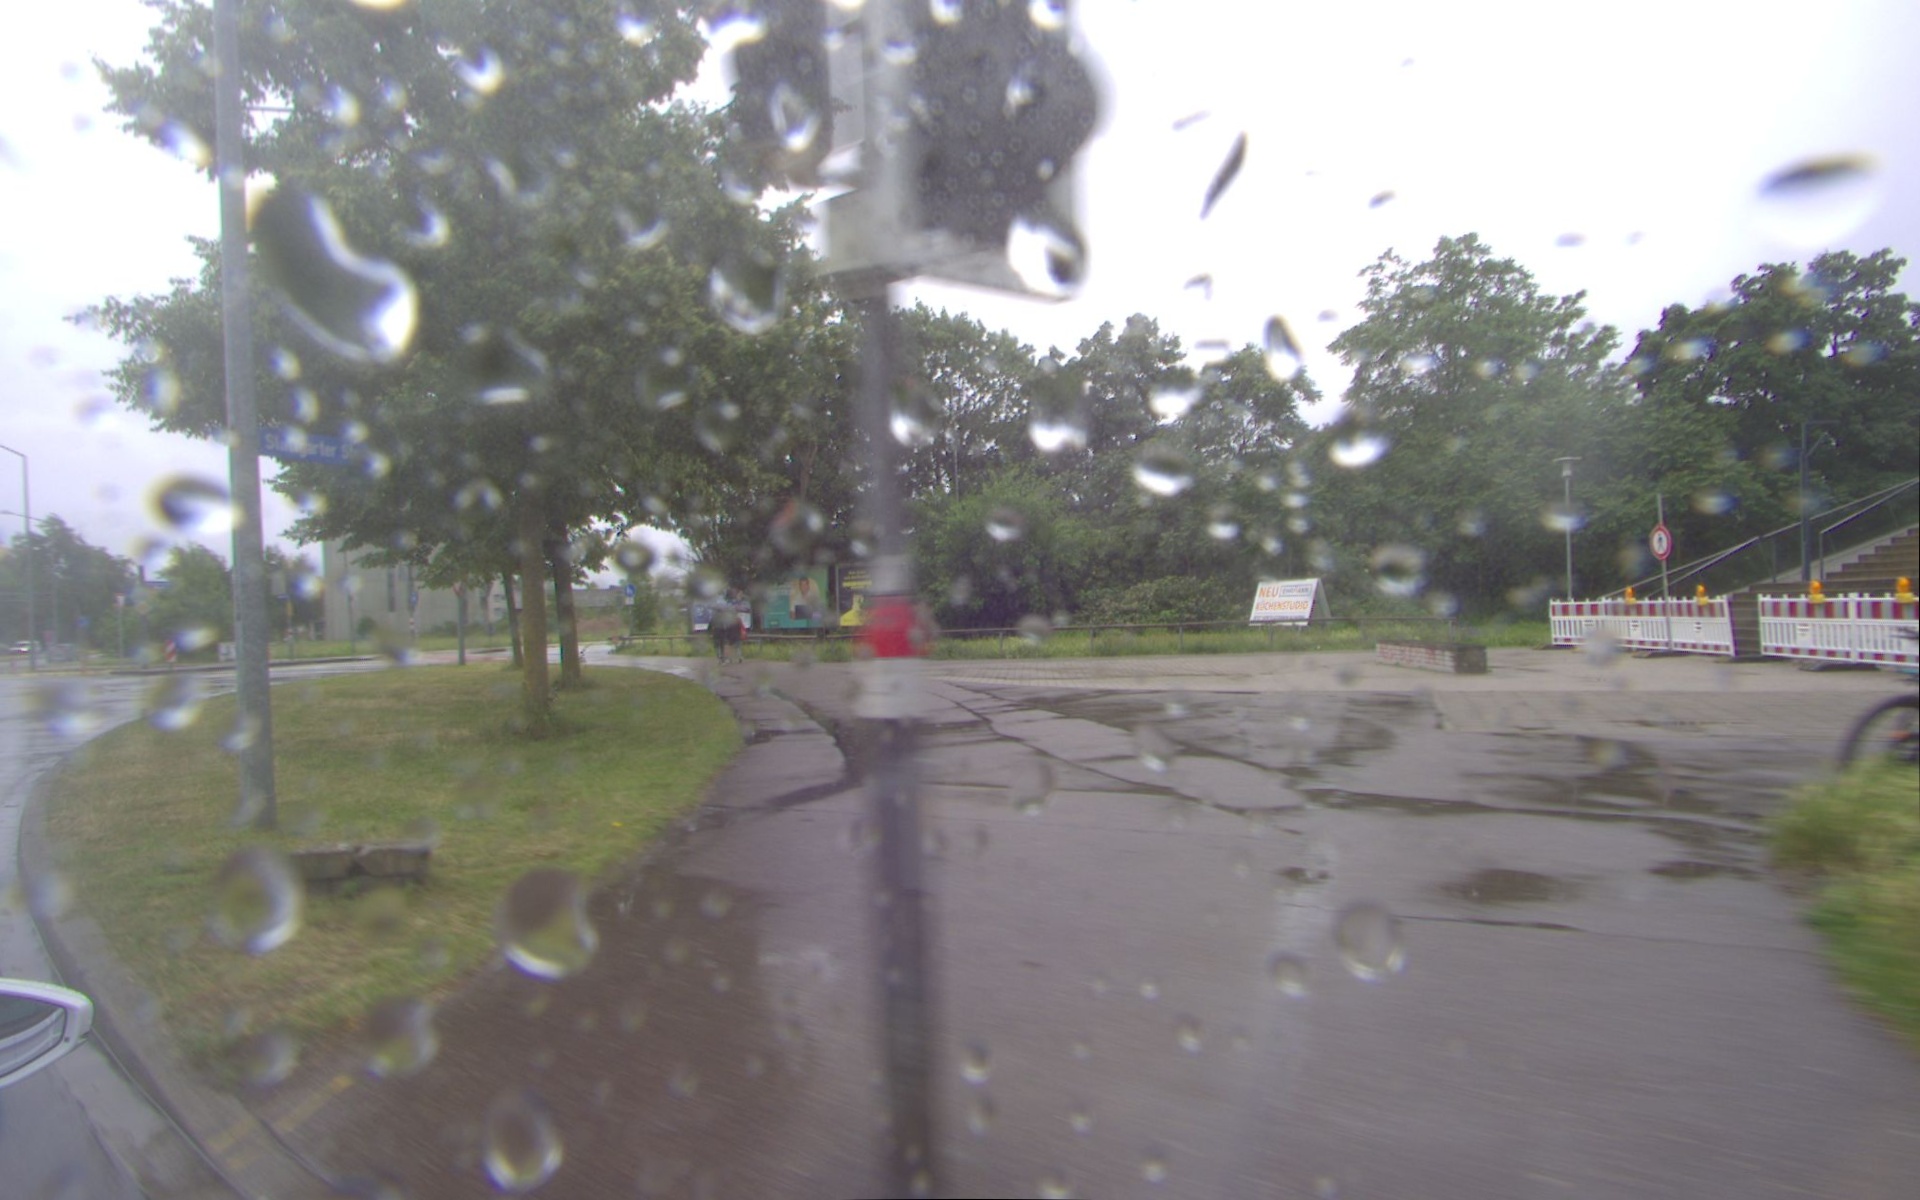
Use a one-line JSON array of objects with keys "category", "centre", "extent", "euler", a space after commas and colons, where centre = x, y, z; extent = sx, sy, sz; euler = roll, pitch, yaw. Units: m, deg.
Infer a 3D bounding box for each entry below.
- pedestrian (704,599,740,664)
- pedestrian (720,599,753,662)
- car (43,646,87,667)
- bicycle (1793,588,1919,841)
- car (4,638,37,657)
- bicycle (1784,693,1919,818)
[{"category": "pedestrian", "centre": [-6.721, 0.906, 28.324], "extent": [0.906, 1.806, 0.808], "euler": [-1, -2, -10]}, {"category": "pedestrian", "centre": [-6.579, 0.908, 29.530], "extent": [0.906, 1.806, 0.808], "euler": [-1, -2, -10]}, {"category": "car", "centre": [-68.366, 4.303, 76.557], "extent": [1.668, 1.511, 3.238], "euler": [-1, -1, -27]}, {"category": "bicycle", "centre": [5.608, 0.537, 5.485], "extent": [2.484, 1.205, 0.551], "euler": [-1, 0, -24]}, {"category": "car", "centre": [-106.701, 5.389, 113.751], "extent": [1.767, 2.038, 3.660], "euler": [0, -3, -27]}, {"category": "bicycle", "centre": [5.433, 0.852, 5.752], "extent": [1.774, 0.566, 0.320], "euler": [-1, 0, -24]}]
